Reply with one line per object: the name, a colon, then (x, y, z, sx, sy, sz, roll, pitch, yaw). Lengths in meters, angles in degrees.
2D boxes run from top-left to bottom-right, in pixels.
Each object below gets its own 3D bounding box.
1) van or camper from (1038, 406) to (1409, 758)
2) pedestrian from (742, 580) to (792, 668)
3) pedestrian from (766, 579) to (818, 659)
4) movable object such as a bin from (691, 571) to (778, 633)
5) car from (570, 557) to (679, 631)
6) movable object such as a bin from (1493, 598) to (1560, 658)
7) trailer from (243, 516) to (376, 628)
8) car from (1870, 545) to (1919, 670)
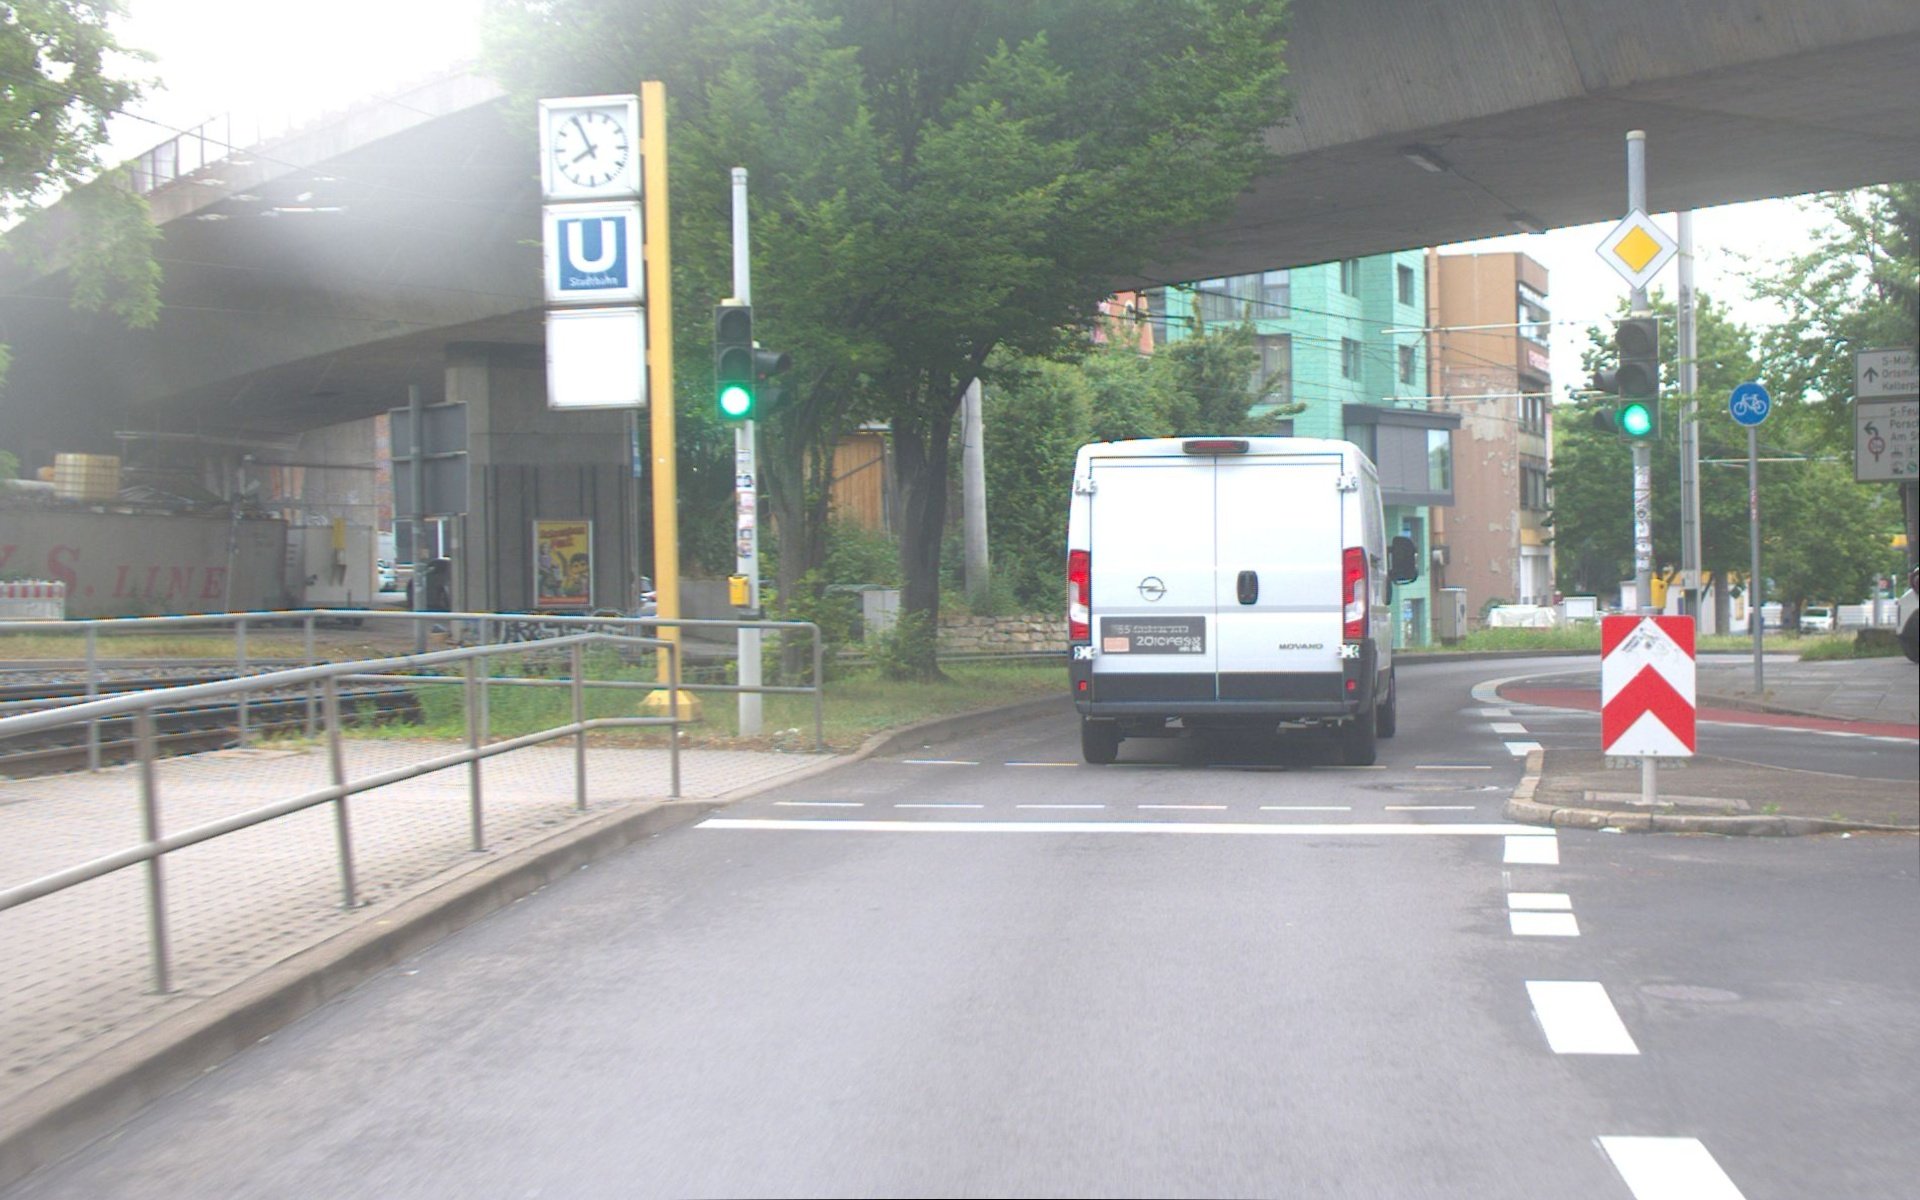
van or camper: (2.019, -0.110, 24.849, 2.200, 2.245, 4.682, 2, 0, 9)
pedestrian: (-4.059, 0.501, 72.434, 0.694, 1.824, 0.865, 1, 0, 27)
pedestrian: (-3.504, 0.392, 71.725, 0.694, 1.664, 0.886, 1, 0, 30)
movable object such as a bin: (-5.642, 0.040, 85.936, 1.556, 1.474, 1.802, 1, 1, -28)
car: (-8.406, -0.162, 86.046, 1.713, 1.662, 3.199, 2, 1, -25)
movable object such as a bin: (21.190, 1.048, 128.541, 2.136, 2.149, 1.800, 2, 1, 19)
trailer: (-16.338, -0.692, 86.223, 1.993, 2.716, 4.123, 1, 0, -30)
car: (13.337, 0.094, 42.926, 3.724, 1.517, 1.802, 0, 0, -34)
